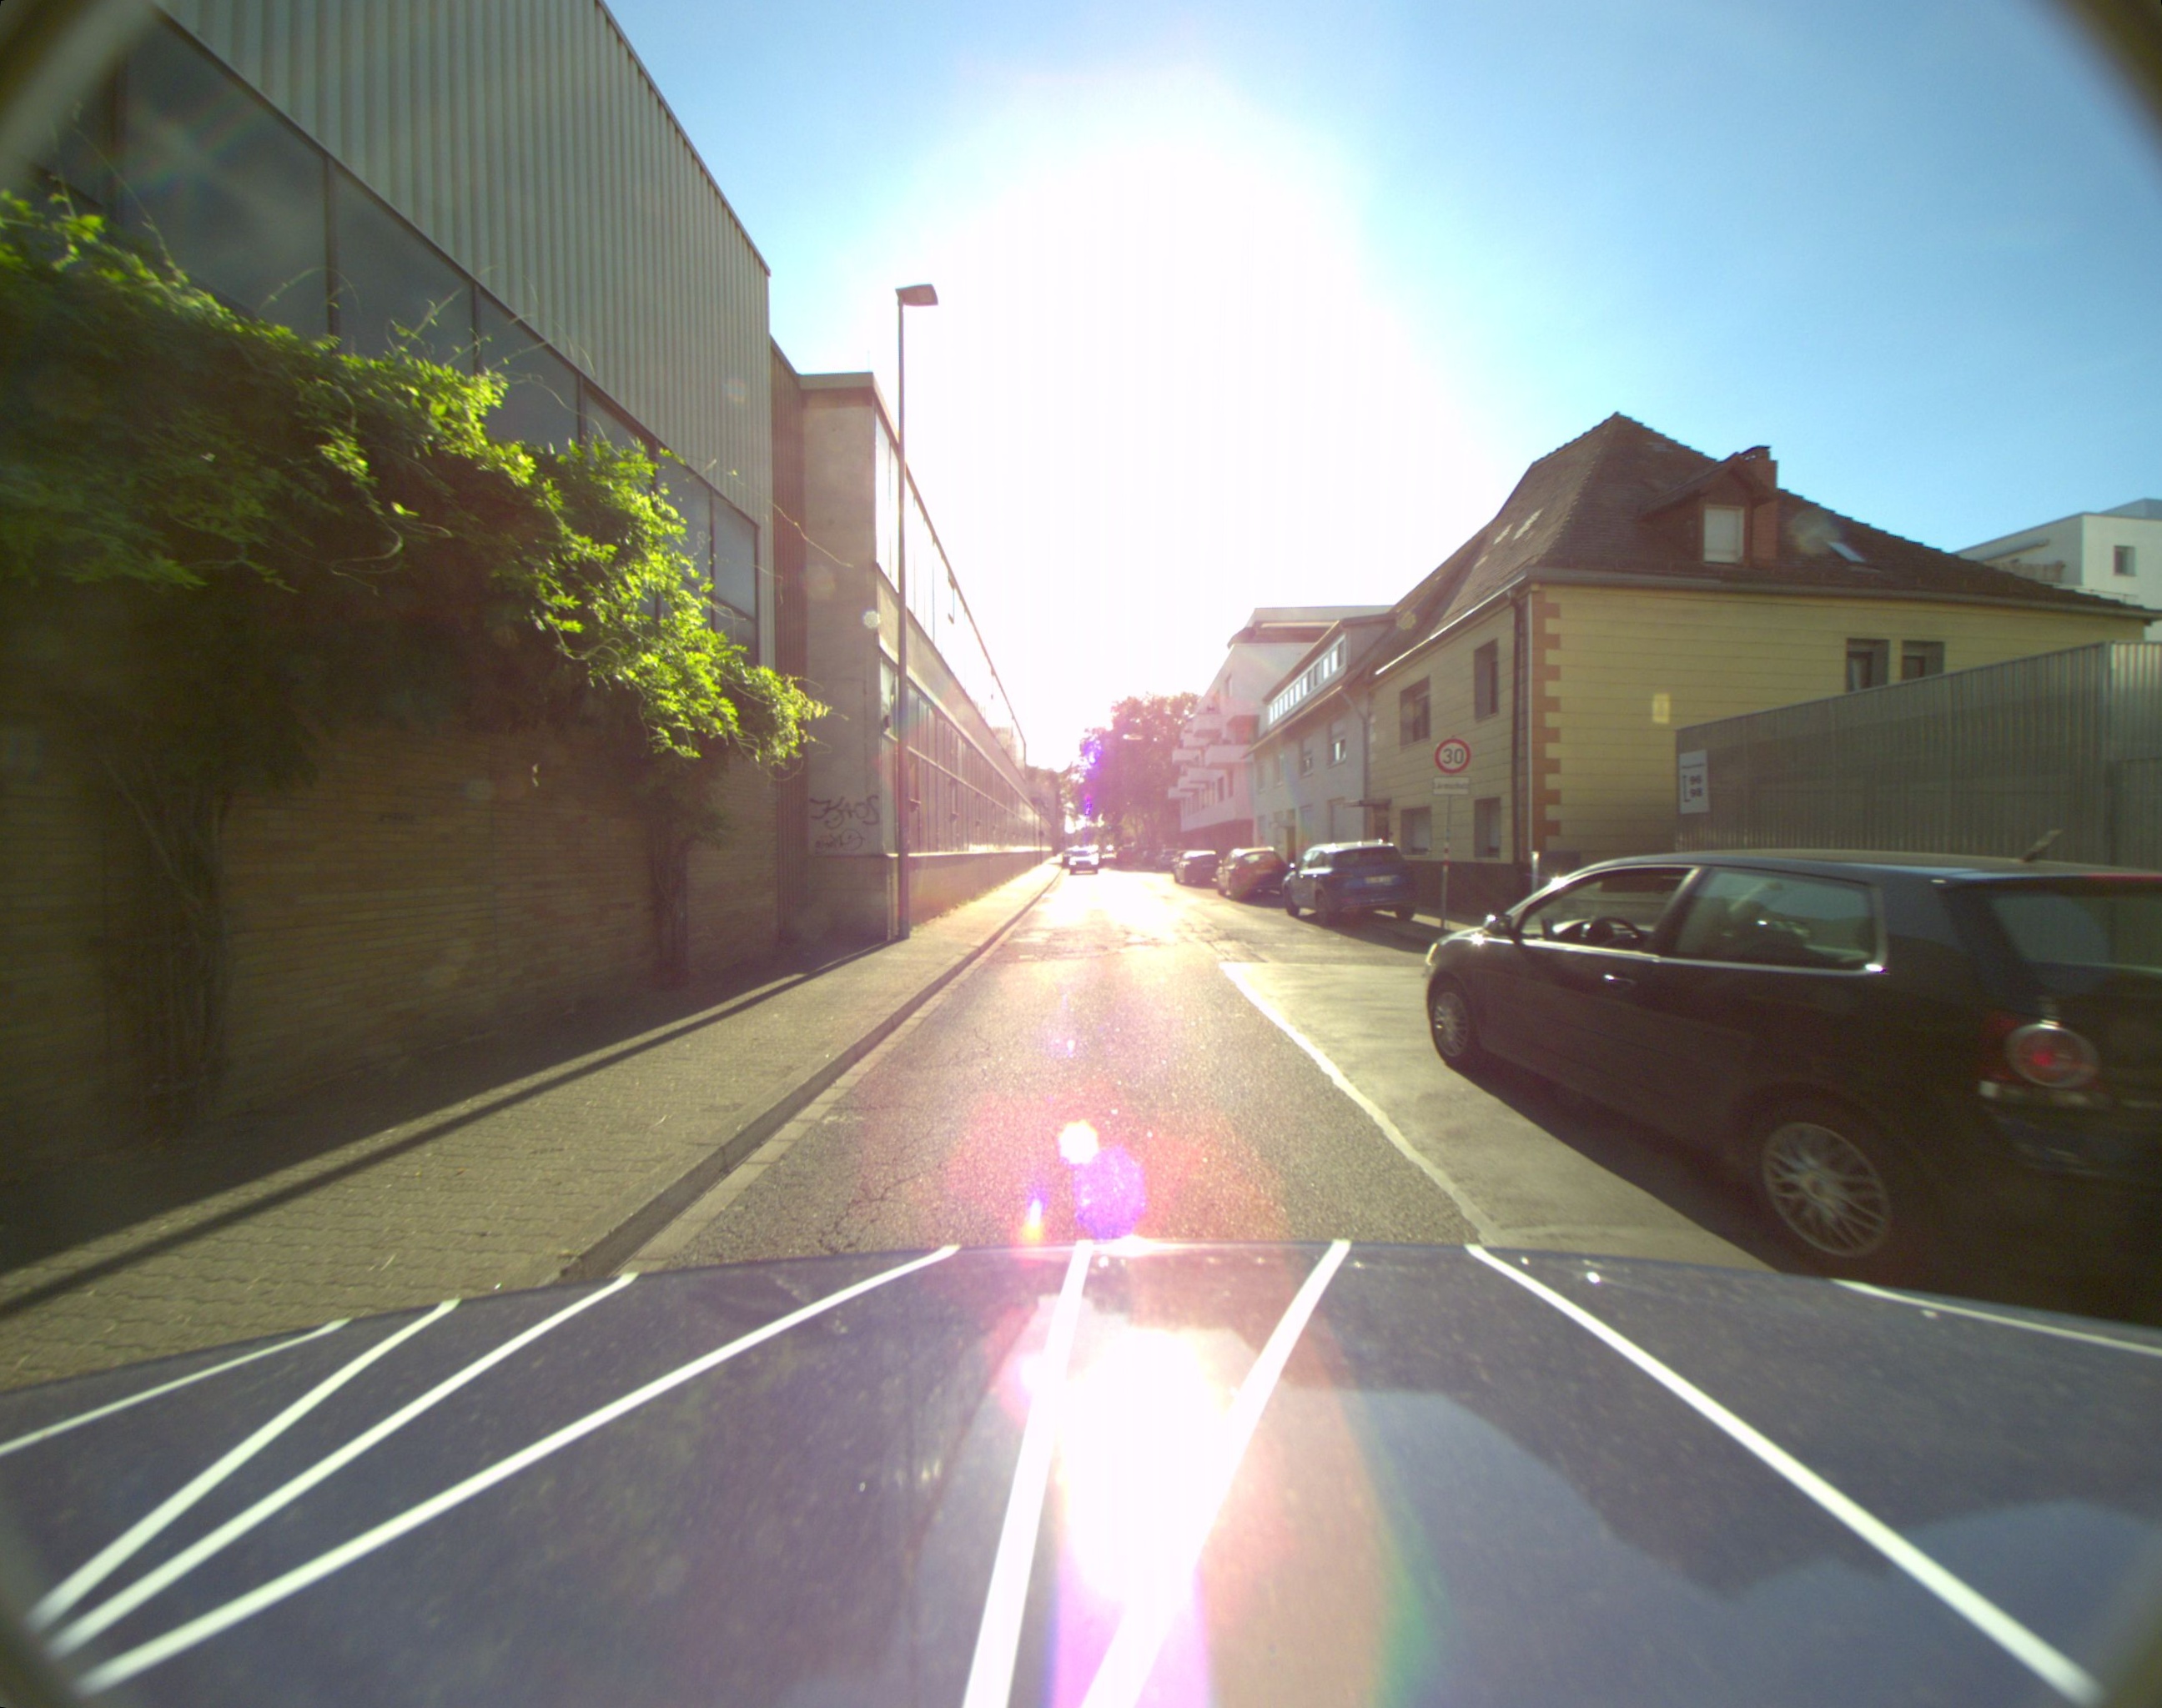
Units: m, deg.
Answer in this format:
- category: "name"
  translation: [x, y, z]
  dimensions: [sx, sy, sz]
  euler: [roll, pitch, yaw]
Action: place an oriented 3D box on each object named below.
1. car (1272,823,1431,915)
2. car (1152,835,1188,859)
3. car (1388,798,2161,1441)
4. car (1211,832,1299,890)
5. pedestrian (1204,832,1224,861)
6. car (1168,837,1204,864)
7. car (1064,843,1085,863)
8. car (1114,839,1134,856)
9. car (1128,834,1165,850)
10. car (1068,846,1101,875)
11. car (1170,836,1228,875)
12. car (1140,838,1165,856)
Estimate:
- category: "car"
  translation: [5.569, 0.270, 16.251]
  dimensions: [1.813, 1.578, 4.192]
  euler: [-5, 0, 0]
- category: "car"
  translation: [6.730, -0.533, 57.755]
  dimensions: [1.863, 1.578, 4.618]
  euler: [-5, 2, -3]
- category: "car"
  translation: [3.353, 0.530, 3.810]
  dimensions: [1.847, 1.483, 4.142]
  euler: [-1, 2, -2]
- category: "car"
  translation: [5.595, 0.182, 24.959]
  dimensions: [1.862, 1.578, 4.335]
  euler: [-5, 1, 1]
- category: "pedestrian"
  translation: [9.059, -0.516, 51.760]
  dimensions: [0.862, 1.808, 1.133]
  euler: [-5, 1, 24]
- category: "car"
  translation: [6.680, -0.257, 48.567]
  dimensions: [1.672, 1.527, 3.855]
  euler: [-5, 2, 0]
- category: "car"
  translation: [-0.634, -0.082, 70.443]
  dimensions: [1.812, 1.578, 4.402]
  euler: [-5, 2, -2]
- category: "car"
  translation: [4.008, -0.662, 71.401]
  dimensions: [1.846, 1.483, 4.143]
  euler: [0, 2, 3]
- category: "car"
  translation: [7.637, -1.382, 88.481]
  dimensions: [3.964, 1.653, 1.696]
  euler: [-5, 3, -28]
- category: "car"
  translation: [0.189, 0.387, 49.382]
  dimensions: [1.855, 1.527, 3.854]
  euler: [-5, 2, -3]
- category: "car"
  translation: [5.382, 0.030, 35.115]
  dimensions: [1.689, 1.527, 4.332]
  euler: [-5, 2, -3]
- category: "car"
  translation: [6.499, -0.645, 69.320]
  dimensions: [1.679, 1.425, 3.768]
  euler: [-5, 2, -1]
